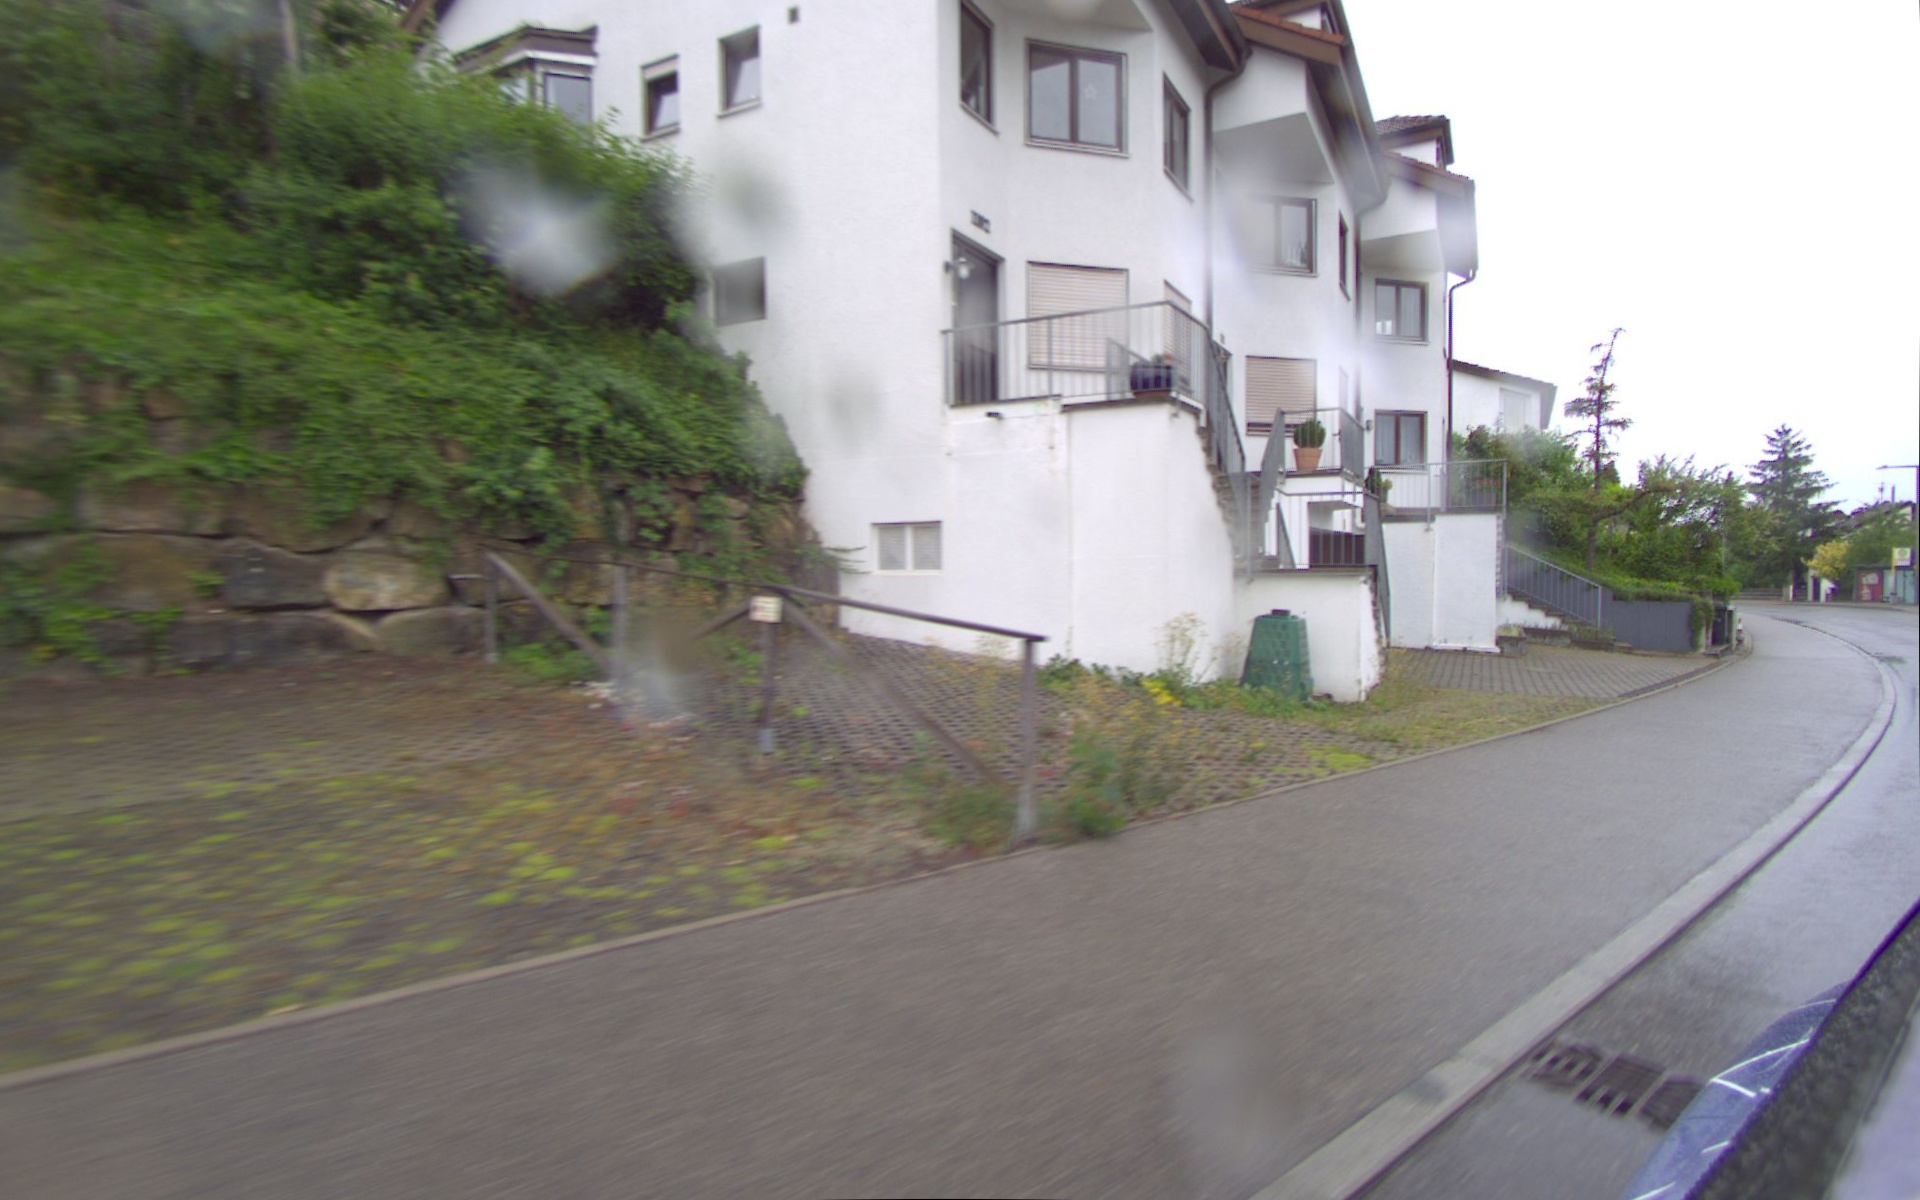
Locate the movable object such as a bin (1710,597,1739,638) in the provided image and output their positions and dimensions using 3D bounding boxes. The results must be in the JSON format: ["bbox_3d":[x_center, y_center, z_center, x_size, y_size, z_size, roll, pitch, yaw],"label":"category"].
[{"bbox_3d":[17.751,0.395,23.490,0.492,0.934,0.450,1,1,42],"label":"movable object such as a bin"}]
